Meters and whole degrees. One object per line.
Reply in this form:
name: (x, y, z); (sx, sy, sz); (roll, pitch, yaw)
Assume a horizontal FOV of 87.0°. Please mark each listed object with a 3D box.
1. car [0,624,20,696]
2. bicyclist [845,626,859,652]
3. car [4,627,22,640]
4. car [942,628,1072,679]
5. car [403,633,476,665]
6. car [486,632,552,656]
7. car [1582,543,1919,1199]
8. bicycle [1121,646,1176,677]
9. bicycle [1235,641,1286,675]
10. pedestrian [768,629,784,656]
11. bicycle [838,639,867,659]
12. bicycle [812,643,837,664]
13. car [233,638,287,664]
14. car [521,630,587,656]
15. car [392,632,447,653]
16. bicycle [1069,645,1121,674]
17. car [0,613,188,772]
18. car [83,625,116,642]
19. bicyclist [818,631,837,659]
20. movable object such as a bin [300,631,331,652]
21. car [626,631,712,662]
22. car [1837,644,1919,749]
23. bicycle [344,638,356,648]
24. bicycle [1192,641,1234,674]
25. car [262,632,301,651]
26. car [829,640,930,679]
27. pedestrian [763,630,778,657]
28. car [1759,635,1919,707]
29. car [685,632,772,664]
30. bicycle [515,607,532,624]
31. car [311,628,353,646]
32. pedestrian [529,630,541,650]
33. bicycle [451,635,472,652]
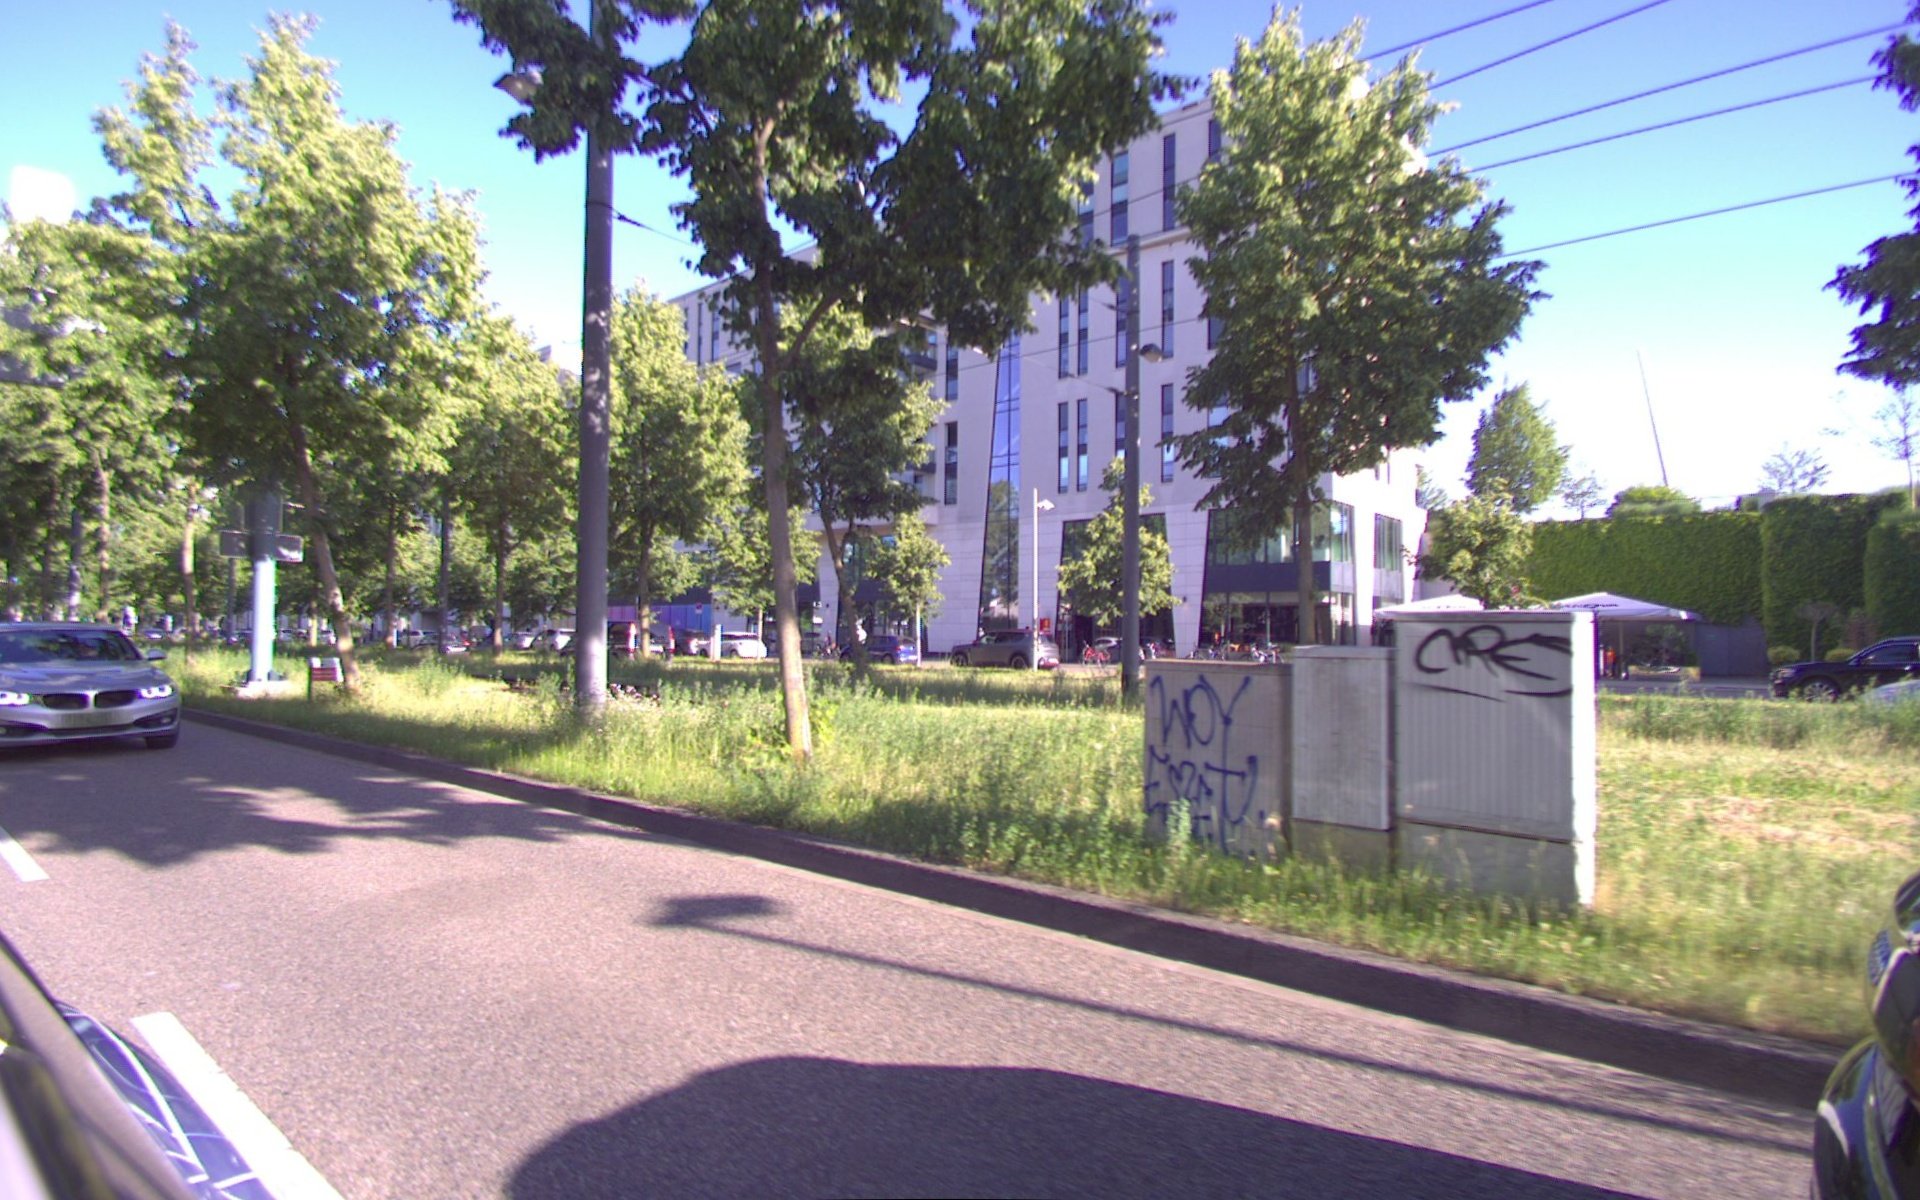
car: (-22.756, 1.335, 22.909); (4.000, 1.534, 1.925); (-1, -1, 43)
bicyclist: (-5.592, 2.002, 52.424); (0.719, 1.313, 0.364); (-1, -1, 43)
car: (-157.232, 5.538, 167.989); (4.001, 2.029, 1.971); (-1, -1, 44)
car: (1.765, 2.026, 39.123); (4.771, 1.785, 1.974); (-1, -1, 39)
car: (-27.204, 2.519, 52.828); (4.317, 1.539, 1.973); (-1, -1, 41)
car: (-28.719, 2.837, 65.906); (4.774, 1.452, 1.974); (-1, -1, 39)
car: (3.254, 0.642, 0.178); (5.083, 1.492, 1.932); (-2, -1, 42)
bicycle: (8.004, 2.593, 42.983); (2.239, 1.207, 0.726); (-1, -1, 41)
bicycle: (11.780, 2.273, 39.676); (1.839, 1.262, 0.582); (-1, -1, 41)
pedestrian: (-11.677, 2.703, 64.277); (0.718, 1.663, 0.630); (-1, -1, 34)
bicycle: (-5.562, 2.528, 52.390); (1.800, 1.024, 0.375); (-1, -1, 43)
bicycle: (-7.033, 2.761, 52.492); (1.484, 1.024, 0.425); (-1, -1, 43)
car: (-44.087, 3.176, 63.711); (4.457, 1.452, 1.971); (-1, -1, 44)
car: (-25.072, 2.600, 62.398); (4.454, 1.452, 1.973); (-1, -1, 41)
car: (-41.053, 3.173, 76.830); (4.920, 1.452, 1.974); (-1, -1, 39)
bicycle: (5.980, 2.624, 44.813); (2.239, 1.207, 0.726); (-1, -1, 41)
car: (-10.900, 0.965, 12.110); (4.276, 1.590, 1.862); (-1, -1, 42)
car: (-94.771, 3.681, 111.450); (5.108, 1.698, 1.973); (-1, -1, 41)
bicyclist: (-6.850, 2.303, 52.308); (0.956, 1.430, 0.425); (-1, -1, 43)
movable object such as a bin: (-57.866, 3.711, 90.911); (1.554, 1.808, 1.951); (-1, -1, 39)
car: (-15.631, 2.458, 54.235); (4.931, 1.452, 1.974); (-1, -1, 39)
car: (15.963, 1.480, 15.296); (3.996, 1.497, 1.974); (-1, -1, 39)
bicycle: (-63.899, 4.479, 105.970); (1.848, 0.960, 0.573); (-1, 0, 43)
bicycle: (10.257, 2.315, 41.048); (0.579, 1.262, 1.846); (0, 0, -27)
car: (-66.462, 4.053, 99.105); (4.333, 1.742, 1.974); (-1, -1, 39)
car: (-3.501, 2.518, 43.473); (4.264, 1.452, 1.937); (-1, -1, 42)
pedestrian: (-11.866, 2.699, 63.377); (0.719, 1.663, 0.629); (-1, -1, 39)
car: (20.762, 1.560, 22.483); (4.610, 1.445, 1.859); (-1, -1, 42)
car: (-11.706, 2.391, 51.033); (4.451, 1.452, 1.974); (-1, -1, 39)
bicycle: (-34.625, 1.230, 80.249); (1.607, 1.290, 0.592); (-1, -1, 39)
car: (-54.908, 3.182, 88.486); (4.015, 1.452, 1.974); (-1, -1, 39)
pedestrian: (-35.615, 3.315, 84.759); (0.719, 1.663, 0.629); (-1, -1, 39)
bicycle: (-42.501, 3.692, 86.293); (0.935, 1.290, 2.775); (0, -1, -42)
